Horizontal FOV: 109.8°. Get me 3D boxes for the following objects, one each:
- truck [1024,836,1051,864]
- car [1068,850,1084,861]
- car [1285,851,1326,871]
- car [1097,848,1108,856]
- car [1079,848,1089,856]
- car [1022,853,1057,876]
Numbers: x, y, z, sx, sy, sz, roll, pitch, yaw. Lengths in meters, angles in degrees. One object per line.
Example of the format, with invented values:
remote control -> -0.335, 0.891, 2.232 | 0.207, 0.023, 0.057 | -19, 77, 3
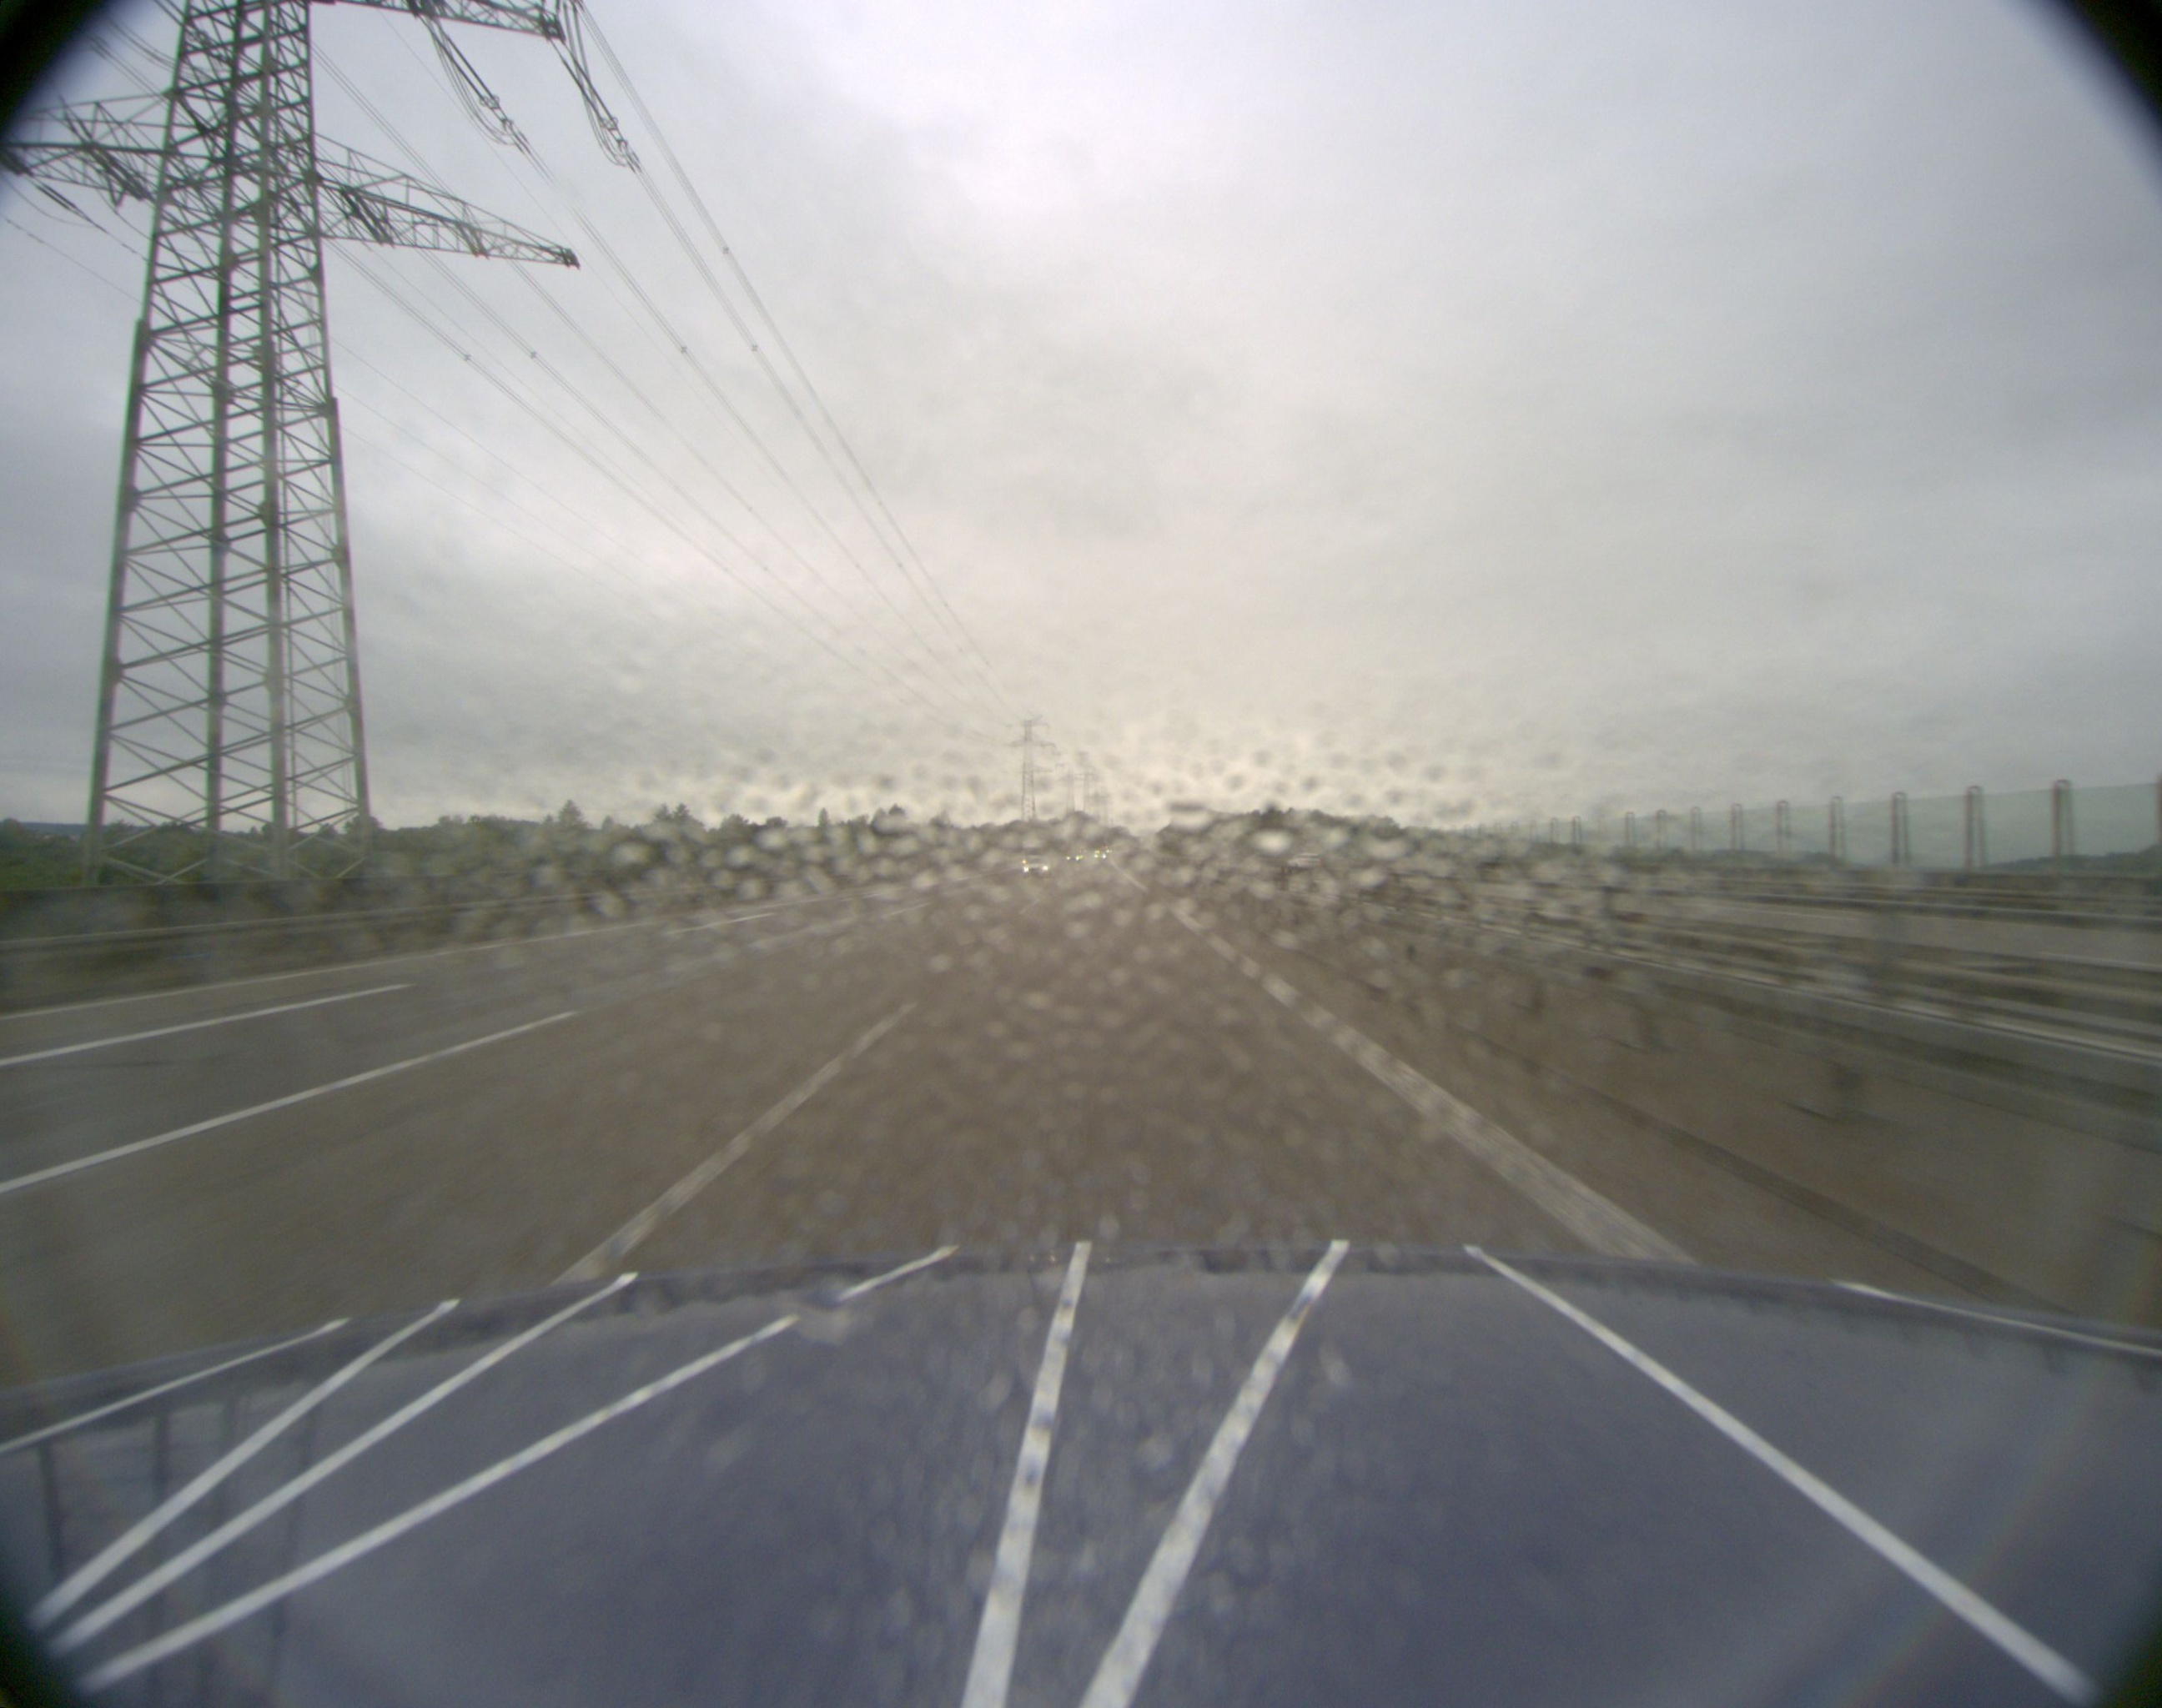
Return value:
truck -> -5.439, -0.531, 95.621 | 2.649, 3.325, 6.931 | -2, 1, 2
car -> -0.702, 0.185, 110.331 | 1.998, 1.418, 4.000 | -2, 1, 2
car -> 18.347, 0.548, 62.331 | 1.998, 1.620, 4.713 | 0, 0, 1
car -> 4.223, -0.462, 147.729 | 1.998, 1.418, 4.000 | -2, 1, 2
car -> 0.523, -0.416, 153.707 | 1.856, 1.418, 4.000 | -2, 1, 2
car -> -2.843, 0.689, 52.388 | 1.998, 1.418, 4.000 | -2, 1, 2
